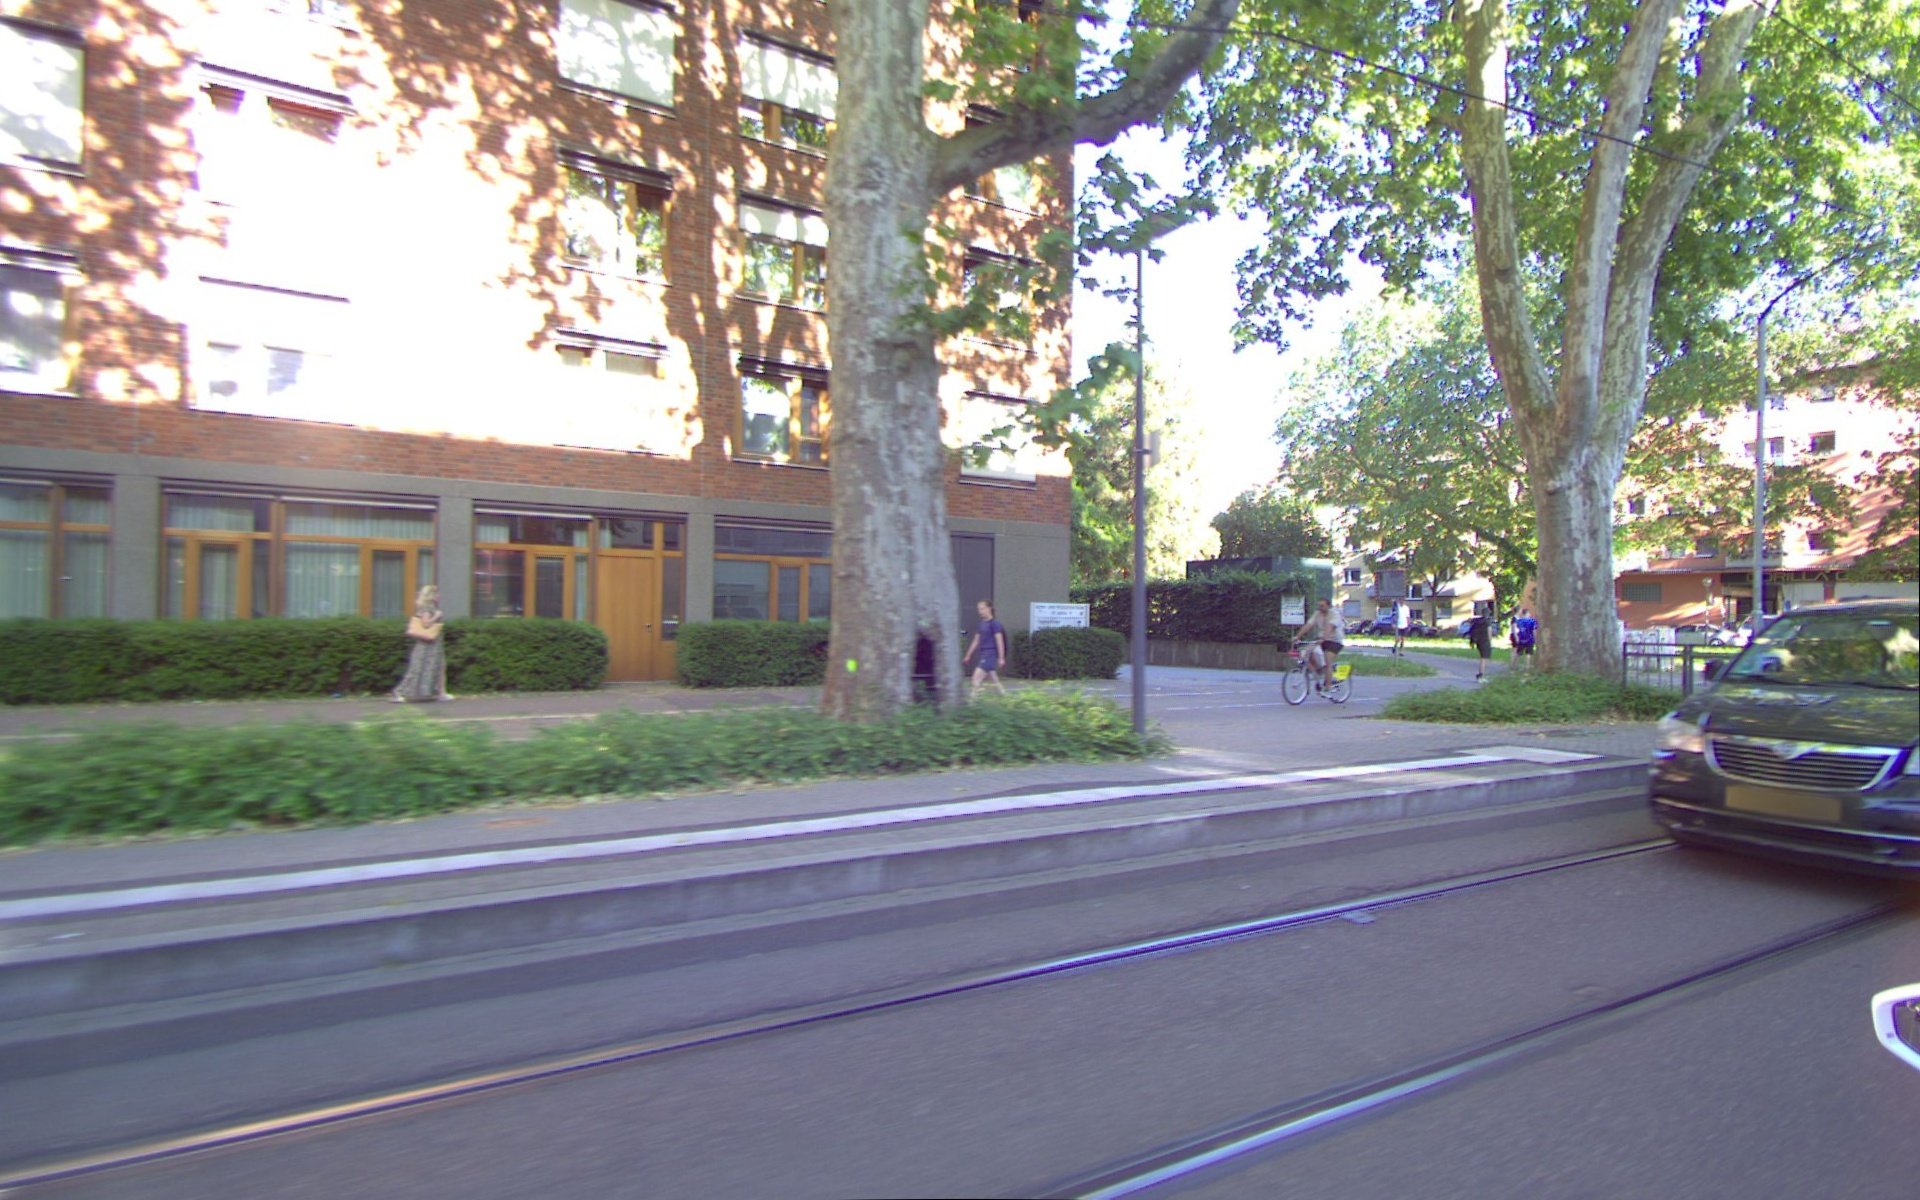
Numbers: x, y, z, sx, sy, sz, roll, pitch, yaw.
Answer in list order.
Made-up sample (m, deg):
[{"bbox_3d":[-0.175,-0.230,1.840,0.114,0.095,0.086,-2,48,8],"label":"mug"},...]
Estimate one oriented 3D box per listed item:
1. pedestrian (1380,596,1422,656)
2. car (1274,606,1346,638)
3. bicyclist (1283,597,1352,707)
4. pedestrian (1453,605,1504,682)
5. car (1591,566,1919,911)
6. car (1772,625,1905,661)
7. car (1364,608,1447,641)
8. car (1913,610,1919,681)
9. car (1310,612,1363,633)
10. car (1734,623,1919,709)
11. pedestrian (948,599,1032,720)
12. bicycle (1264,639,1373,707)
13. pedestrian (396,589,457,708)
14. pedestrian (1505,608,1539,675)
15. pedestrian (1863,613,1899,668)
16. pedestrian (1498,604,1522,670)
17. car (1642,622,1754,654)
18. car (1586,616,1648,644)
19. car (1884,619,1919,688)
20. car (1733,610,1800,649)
[{"bbox_3d":[13.386,0.772,30.514,0.897,1.760,0.846,1,0,5],"label":"pedestrian"},{"bbox_3d":[25.799,1.620,74.182,2.021,2.227,4.702,1,0,-33],"label":"car"},{"bbox_3d":[6.087,0.864,17.124,0.828,1.811,0.697,1,0,-28],"label":"bicyclist"},{"bbox_3d":[11.864,0.982,22.979,0.770,1.695,0.706,1,0,-30],"label":"pedestrian"},{"bbox_3d":[6.745,0.752,6.881,5.083,1.739,1.984,2,0,-31],"label":"car"},{"bbox_3d":[42.121,2.017,48.271,1.842,1.509,4.497,1,0,-35],"label":"car"},{"bbox_3d":[29.711,1.608,67.120,1.979,2.040,4.700,1,0,-34],"label":"car"},{"bbox_3d":[26.860,1.231,24.759,1.916,1.858,4.547,1,0,-31],"label":"car"},{"bbox_3d":[30.137,1.797,80.315,4.443,1.639,1.930,2,0,-38],"label":"car"},{"bbox_3d":[17.942,1.252,19.107,1.934,1.480,4.735,1,0,-33],"label":"car"},{"bbox_3d":[0.440,0.844,14.668,0.957,1.694,0.735,1,0,-29],"label":"pedestrian"},{"bbox_3d":[6.125,1.232,17.142,1.817,1.078,0.712,1,0,-29],"label":"bicycle"},{"bbox_3d":[-7.402,0.654,13.937,0.707,1.594,0.661,1,0,-30],"label":"pedestrian"},{"bbox_3d":[14.403,1.057,25.726,0.685,1.681,0.561,1,0,34],"label":"pedestrian"},{"bbox_3d":[31.492,1.382,34.353,0.741,1.834,0.642,1,0,-25],"label":"pedestrian"},{"bbox_3d":[14.749,0.973,26.927,0.523,1.728,0.591,1,0,29],"label":"pedestrian"},{"bbox_3d":[38.719,1.970,52.778,1.807,1.469,4.434,1,0,-37],"label":"car"},{"bbox_3d":[41.625,1.898,63.605,4.443,1.639,1.930,2,0,-38],"label":"car"},{"bbox_3d":[24.819,1.339,23.662,1.880,1.668,4.118,1,0,-31],"label":"car"},{"bbox_3d":[45.361,1.662,56.453,4.879,2.030,1.977,2,0,-40],"label":"car"}]
